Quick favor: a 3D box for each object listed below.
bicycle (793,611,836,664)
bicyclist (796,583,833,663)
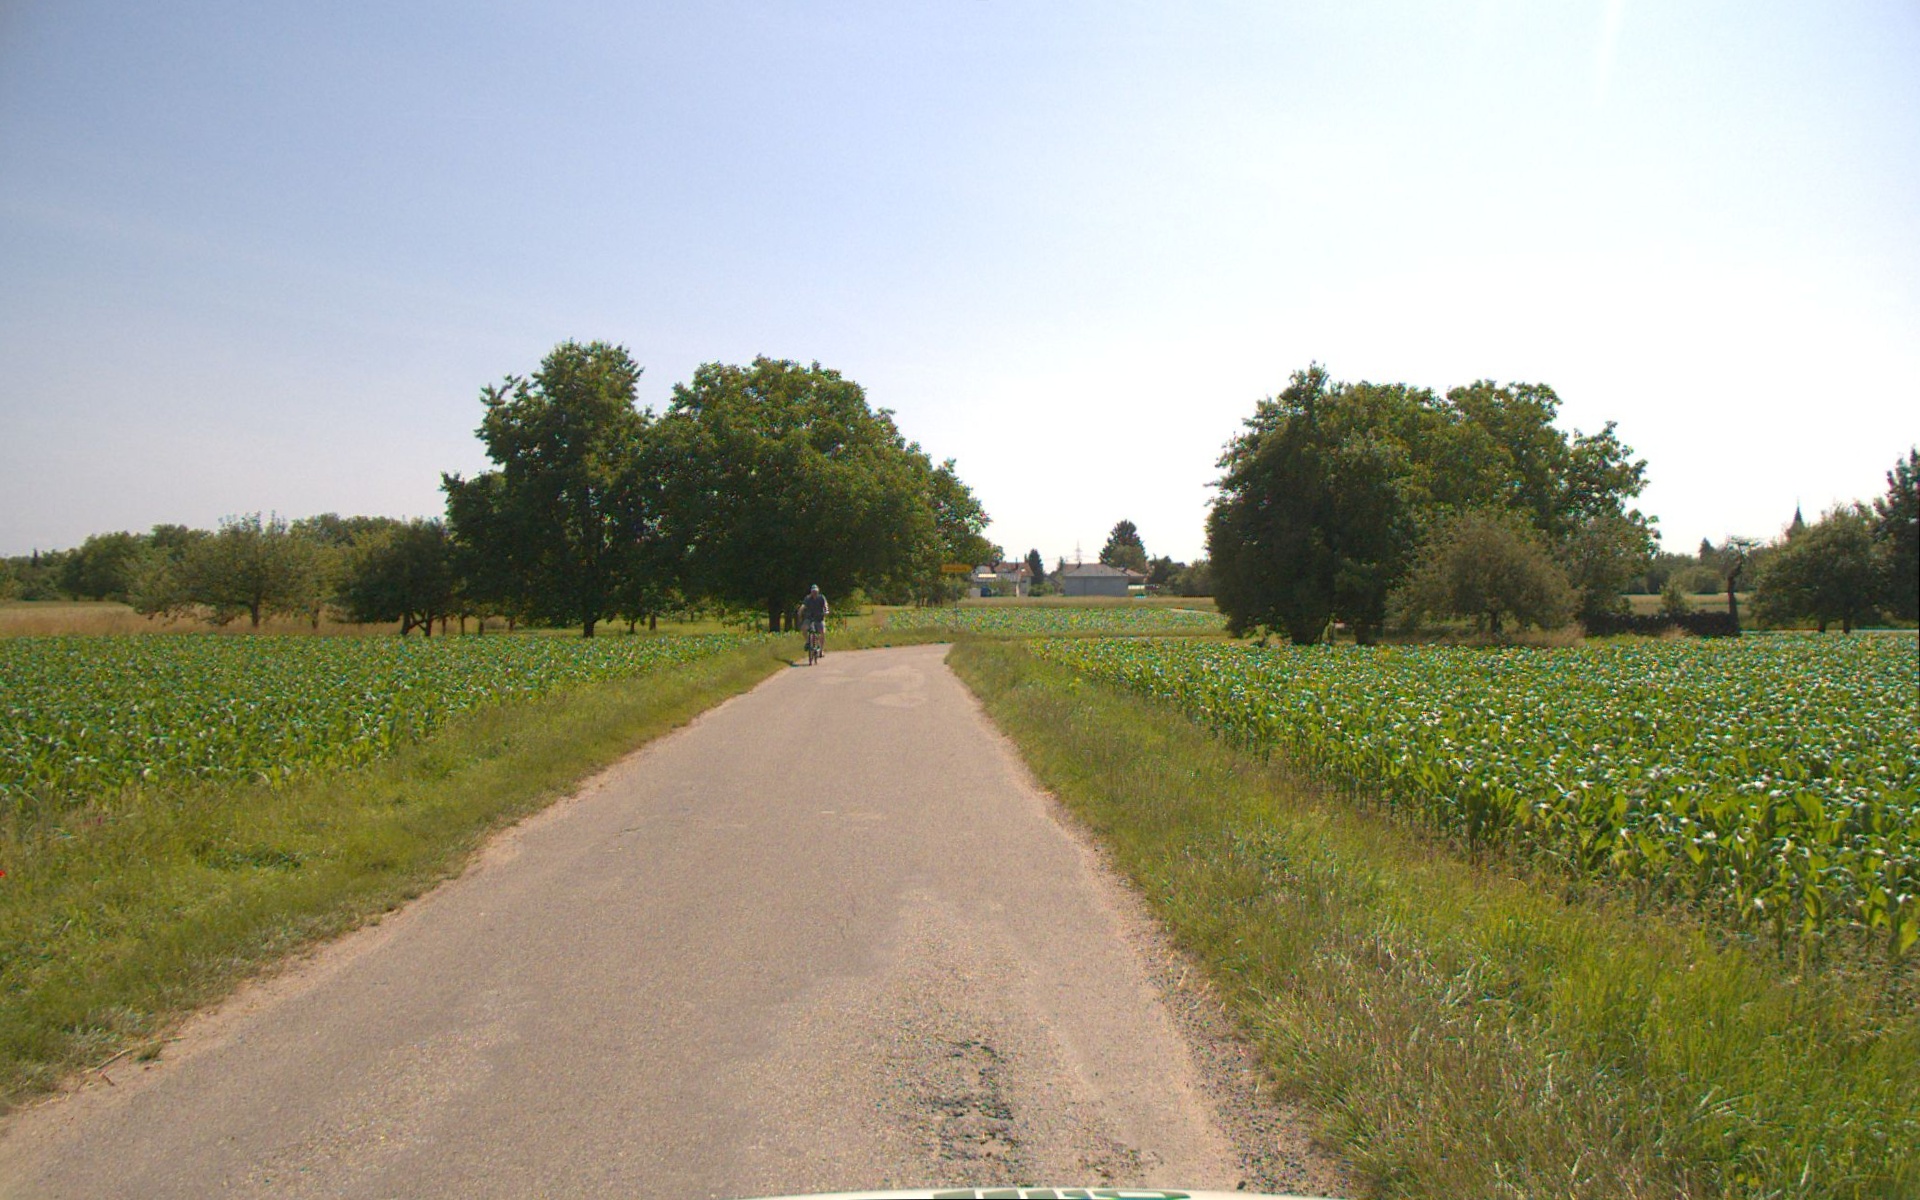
[{"bbox_3d":[-3.361,0.856,38.320,0.735,1.147,1.908,-2,0,1],"label":"bicycle"},{"bbox_3d":[-3.367,0.528,38.325,0.735,1.822,0.717,-2,0,1],"label":"bicyclist"}]
